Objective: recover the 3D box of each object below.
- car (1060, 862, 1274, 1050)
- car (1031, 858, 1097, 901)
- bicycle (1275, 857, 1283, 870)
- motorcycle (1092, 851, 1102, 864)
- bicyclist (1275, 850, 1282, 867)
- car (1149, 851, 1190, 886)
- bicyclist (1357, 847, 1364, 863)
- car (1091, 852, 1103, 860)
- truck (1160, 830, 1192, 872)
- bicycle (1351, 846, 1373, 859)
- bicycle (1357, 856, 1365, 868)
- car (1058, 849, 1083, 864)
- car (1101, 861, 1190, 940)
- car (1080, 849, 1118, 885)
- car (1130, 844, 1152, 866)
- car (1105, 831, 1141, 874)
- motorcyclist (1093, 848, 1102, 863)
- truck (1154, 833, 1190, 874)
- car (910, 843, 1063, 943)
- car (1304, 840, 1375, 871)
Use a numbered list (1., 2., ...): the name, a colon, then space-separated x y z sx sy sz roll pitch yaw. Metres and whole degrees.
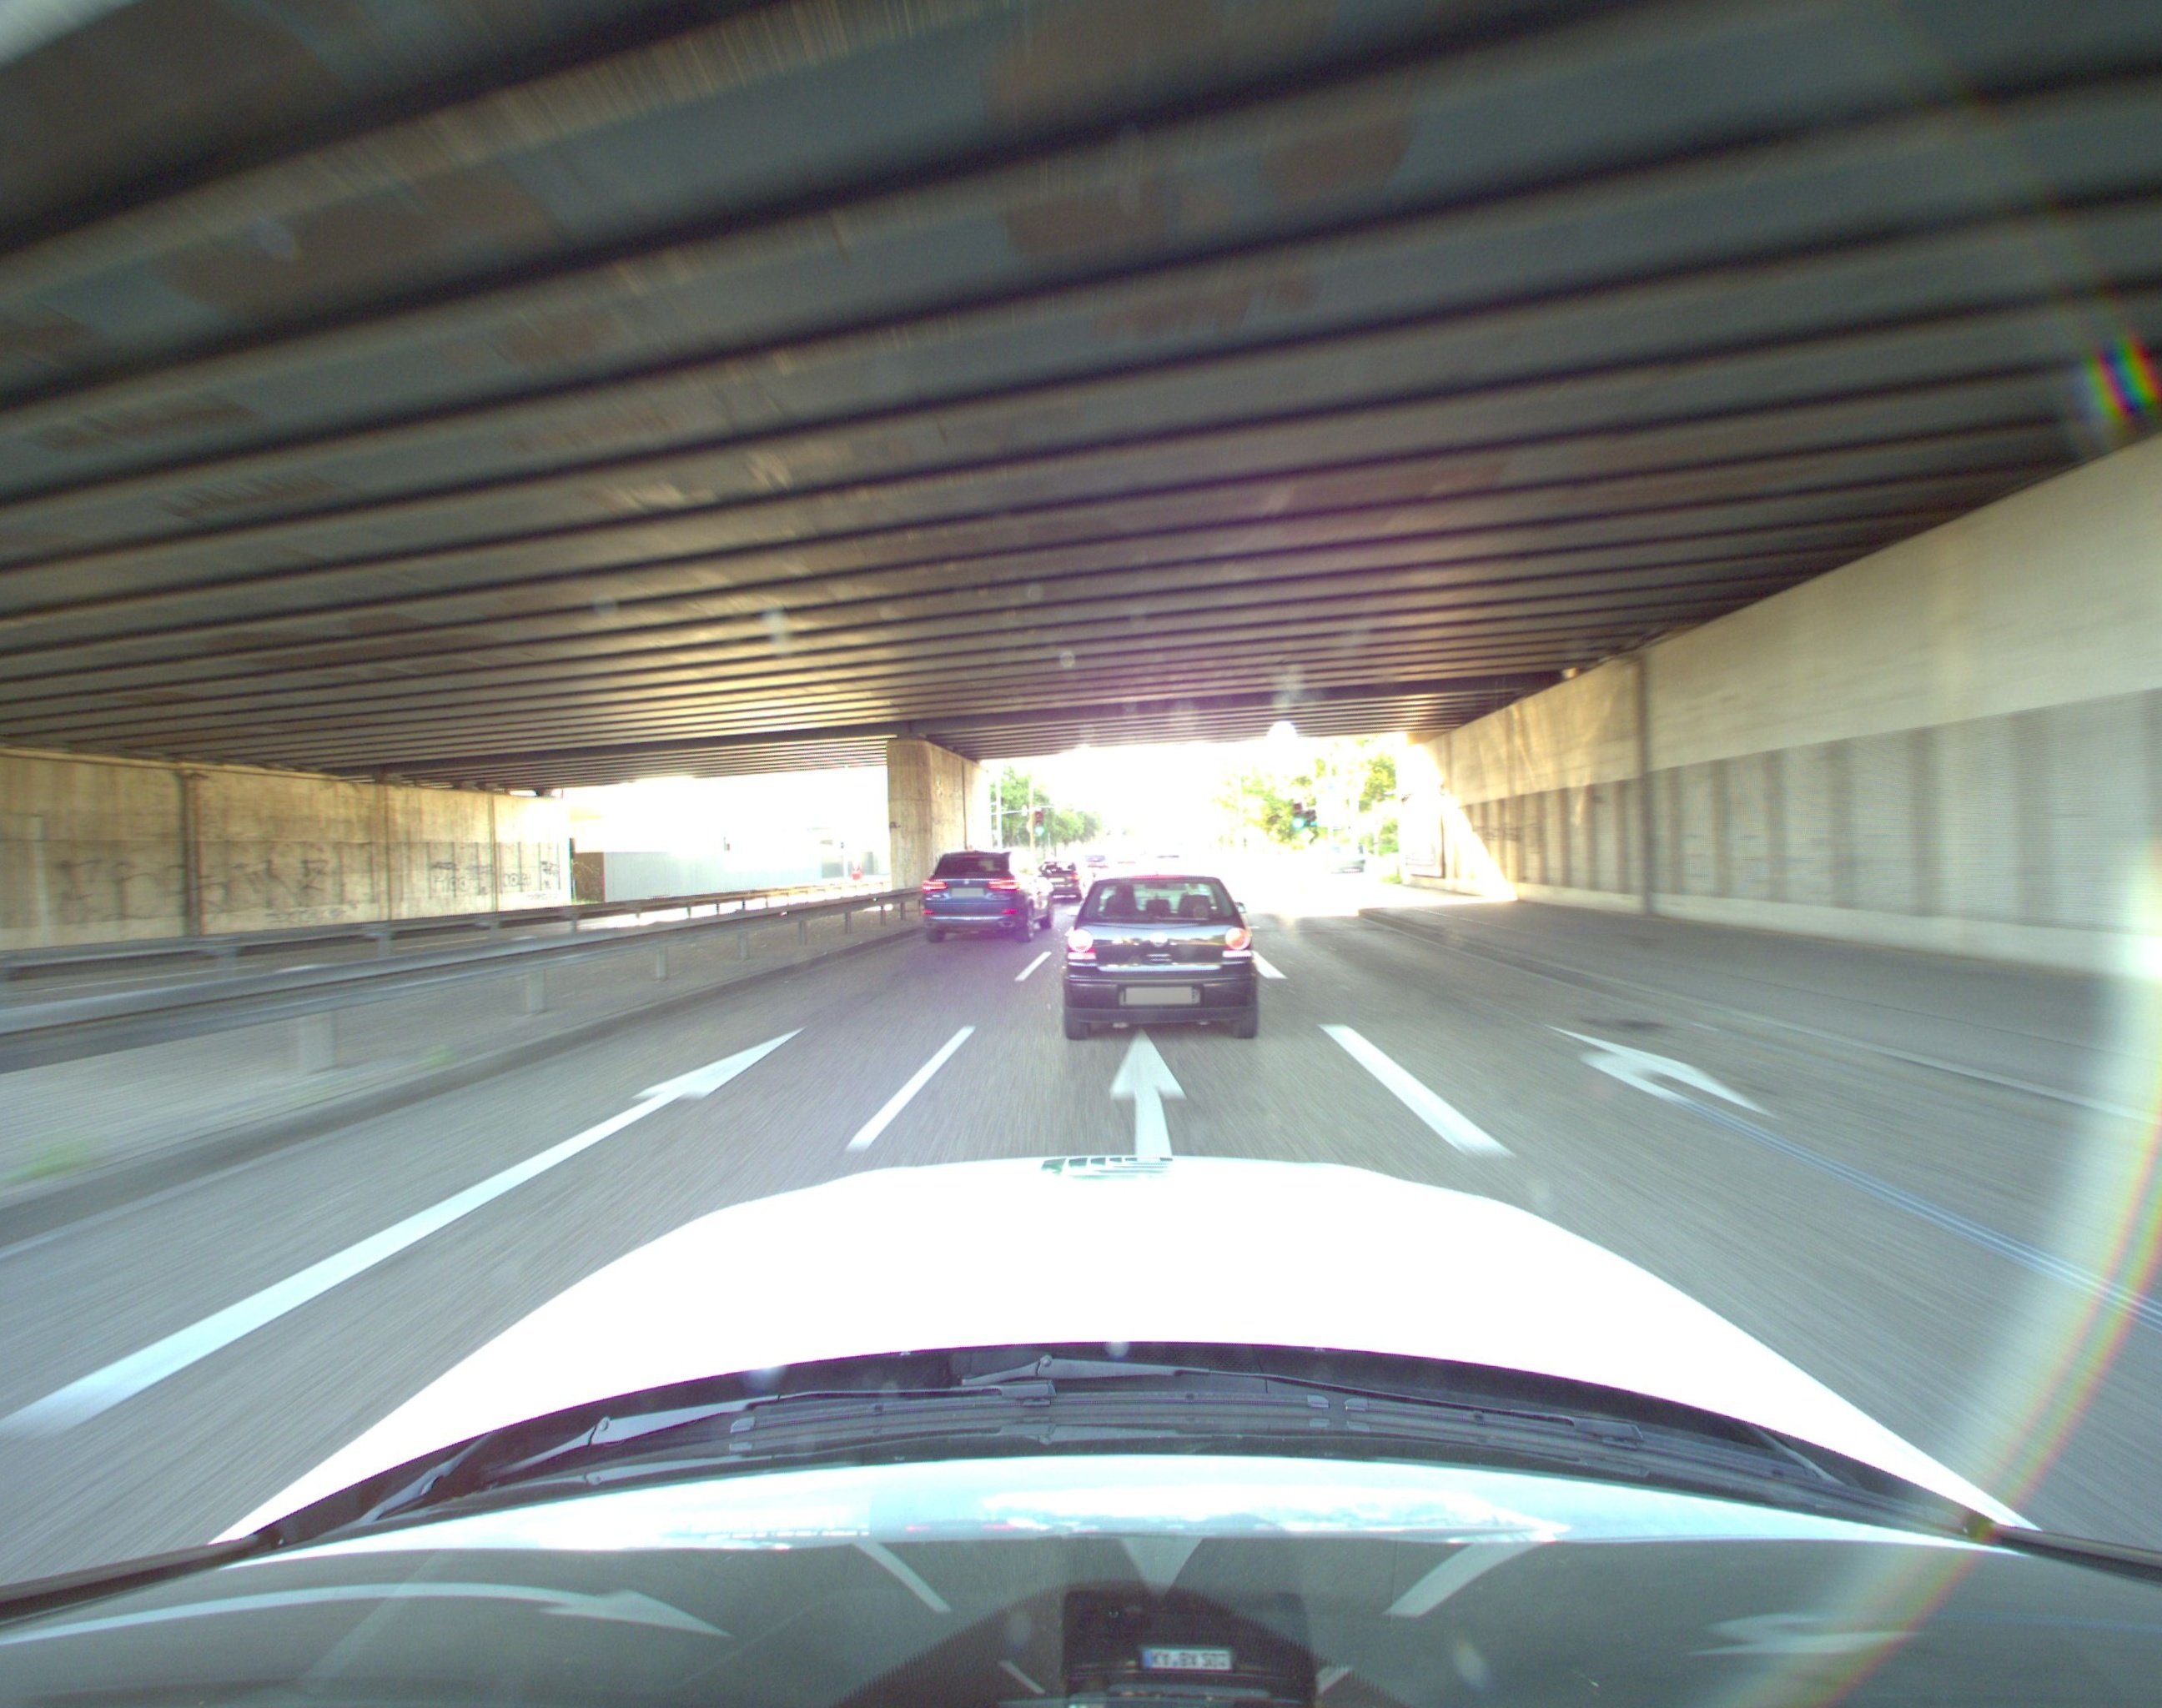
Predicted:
1. car: 0.785 0.792 8.045 1.609 1.409 3.687 0 0 4
2. car: -0.527 0.842 28.405 1.607 1.409 3.692 0 0 9
3. bicycle: 15.172 0.726 62.471 0.435 0.914 1.029 -3 -1 8
4. motorcycle: 1.554 0.324 77.950 0.837 1.076 2.401 -4 0 1
5. bicyclist: 15.165 0.350 62.509 0.425 1.233 0.461 -2 -1 8
6. car: 4.184 0.653 37.975 1.786 1.559 4.009 0 0 8
7. bicyclist: 21.986 0.076 63.976 0.425 1.309 0.461 0 -1 8
8. car: 3.204 0.418 162.437 1.983 1.400 4.356 -5 -1 6
9. truck: 6.283 -0.187 53.687 1.985 2.668 4.009 0 -1 8
10. bicycle: 23.850 -0.091 69.088 1.647 0.991 0.581 -2 2 24
11. bicycle: 21.983 0.617 63.966 0.435 0.914 1.029 0 -1 8
12. car: -1.064 0.291 82.228 1.983 1.475 4.088 0 0 7
13. car: 1.248 0.850 16.654 1.572 1.413 4.065 0 0 2
14. car: 0.911 0.610 39.931 1.609 1.679 3.687 0 -1 5
15. car: 4.867 0.095 66.231 1.608 1.679 3.690 0 -1 7
16. car: 2.653 -0.057 51.332 2.128 2.576 5.090 0 -1 3
17. motorcyclist: 1.548 0.104 78.032 0.794 1.349 1.275 -4 1 1
18. truck: 5.518 -0.005 48.954 1.985 2.315 4.009 0 -1 8
19. car: -1.703 0.692 16.382 1.982 1.734 4.542 0 0 8
20. car: 14.474 0.077 45.572 4.080 1.630 1.723 0 -1 -36
